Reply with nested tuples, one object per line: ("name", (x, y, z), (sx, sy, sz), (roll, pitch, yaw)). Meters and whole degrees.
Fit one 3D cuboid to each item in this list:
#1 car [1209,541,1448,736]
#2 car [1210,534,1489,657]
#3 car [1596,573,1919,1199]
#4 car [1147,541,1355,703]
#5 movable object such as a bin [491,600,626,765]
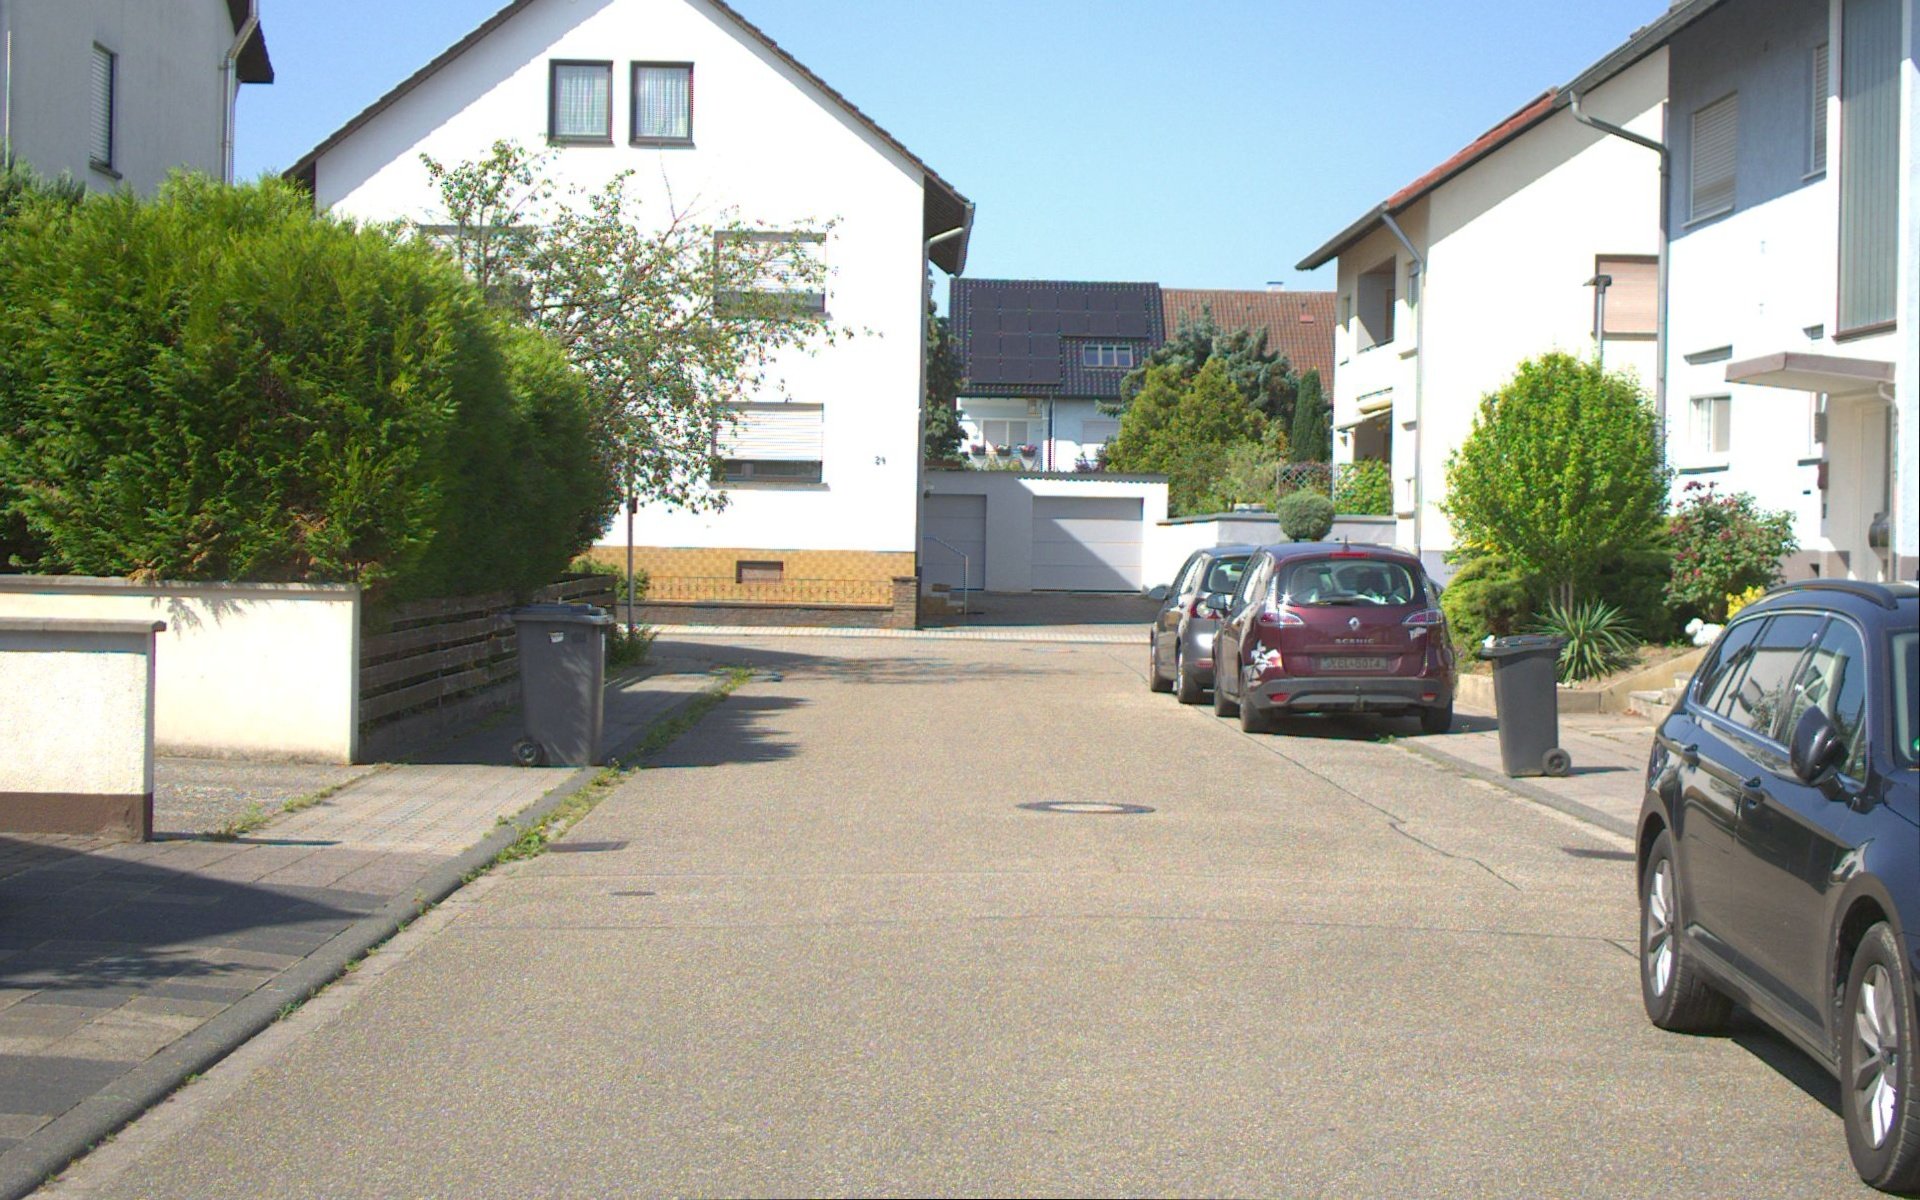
("car", (3.193, 0.285, 30.460), (1.645, 1.576, 4.147), (1, 1, 0))
("car", (5.408, -0.050, 47.542), (3.798, 1.576, 1.650), (1, 1, -41))
("car", (3.025, 0.702, 9.561), (1.717, 1.433, 4.503), (3, 1, 1))
("car", (2.940, 0.179, 35.418), (1.645, 1.540, 4.048), (1, 1, -2))
("movable object such as a bin", (-2.660, 0.539, 22.823), (0.818, 1.060, 0.611), (1, 1, -1))
